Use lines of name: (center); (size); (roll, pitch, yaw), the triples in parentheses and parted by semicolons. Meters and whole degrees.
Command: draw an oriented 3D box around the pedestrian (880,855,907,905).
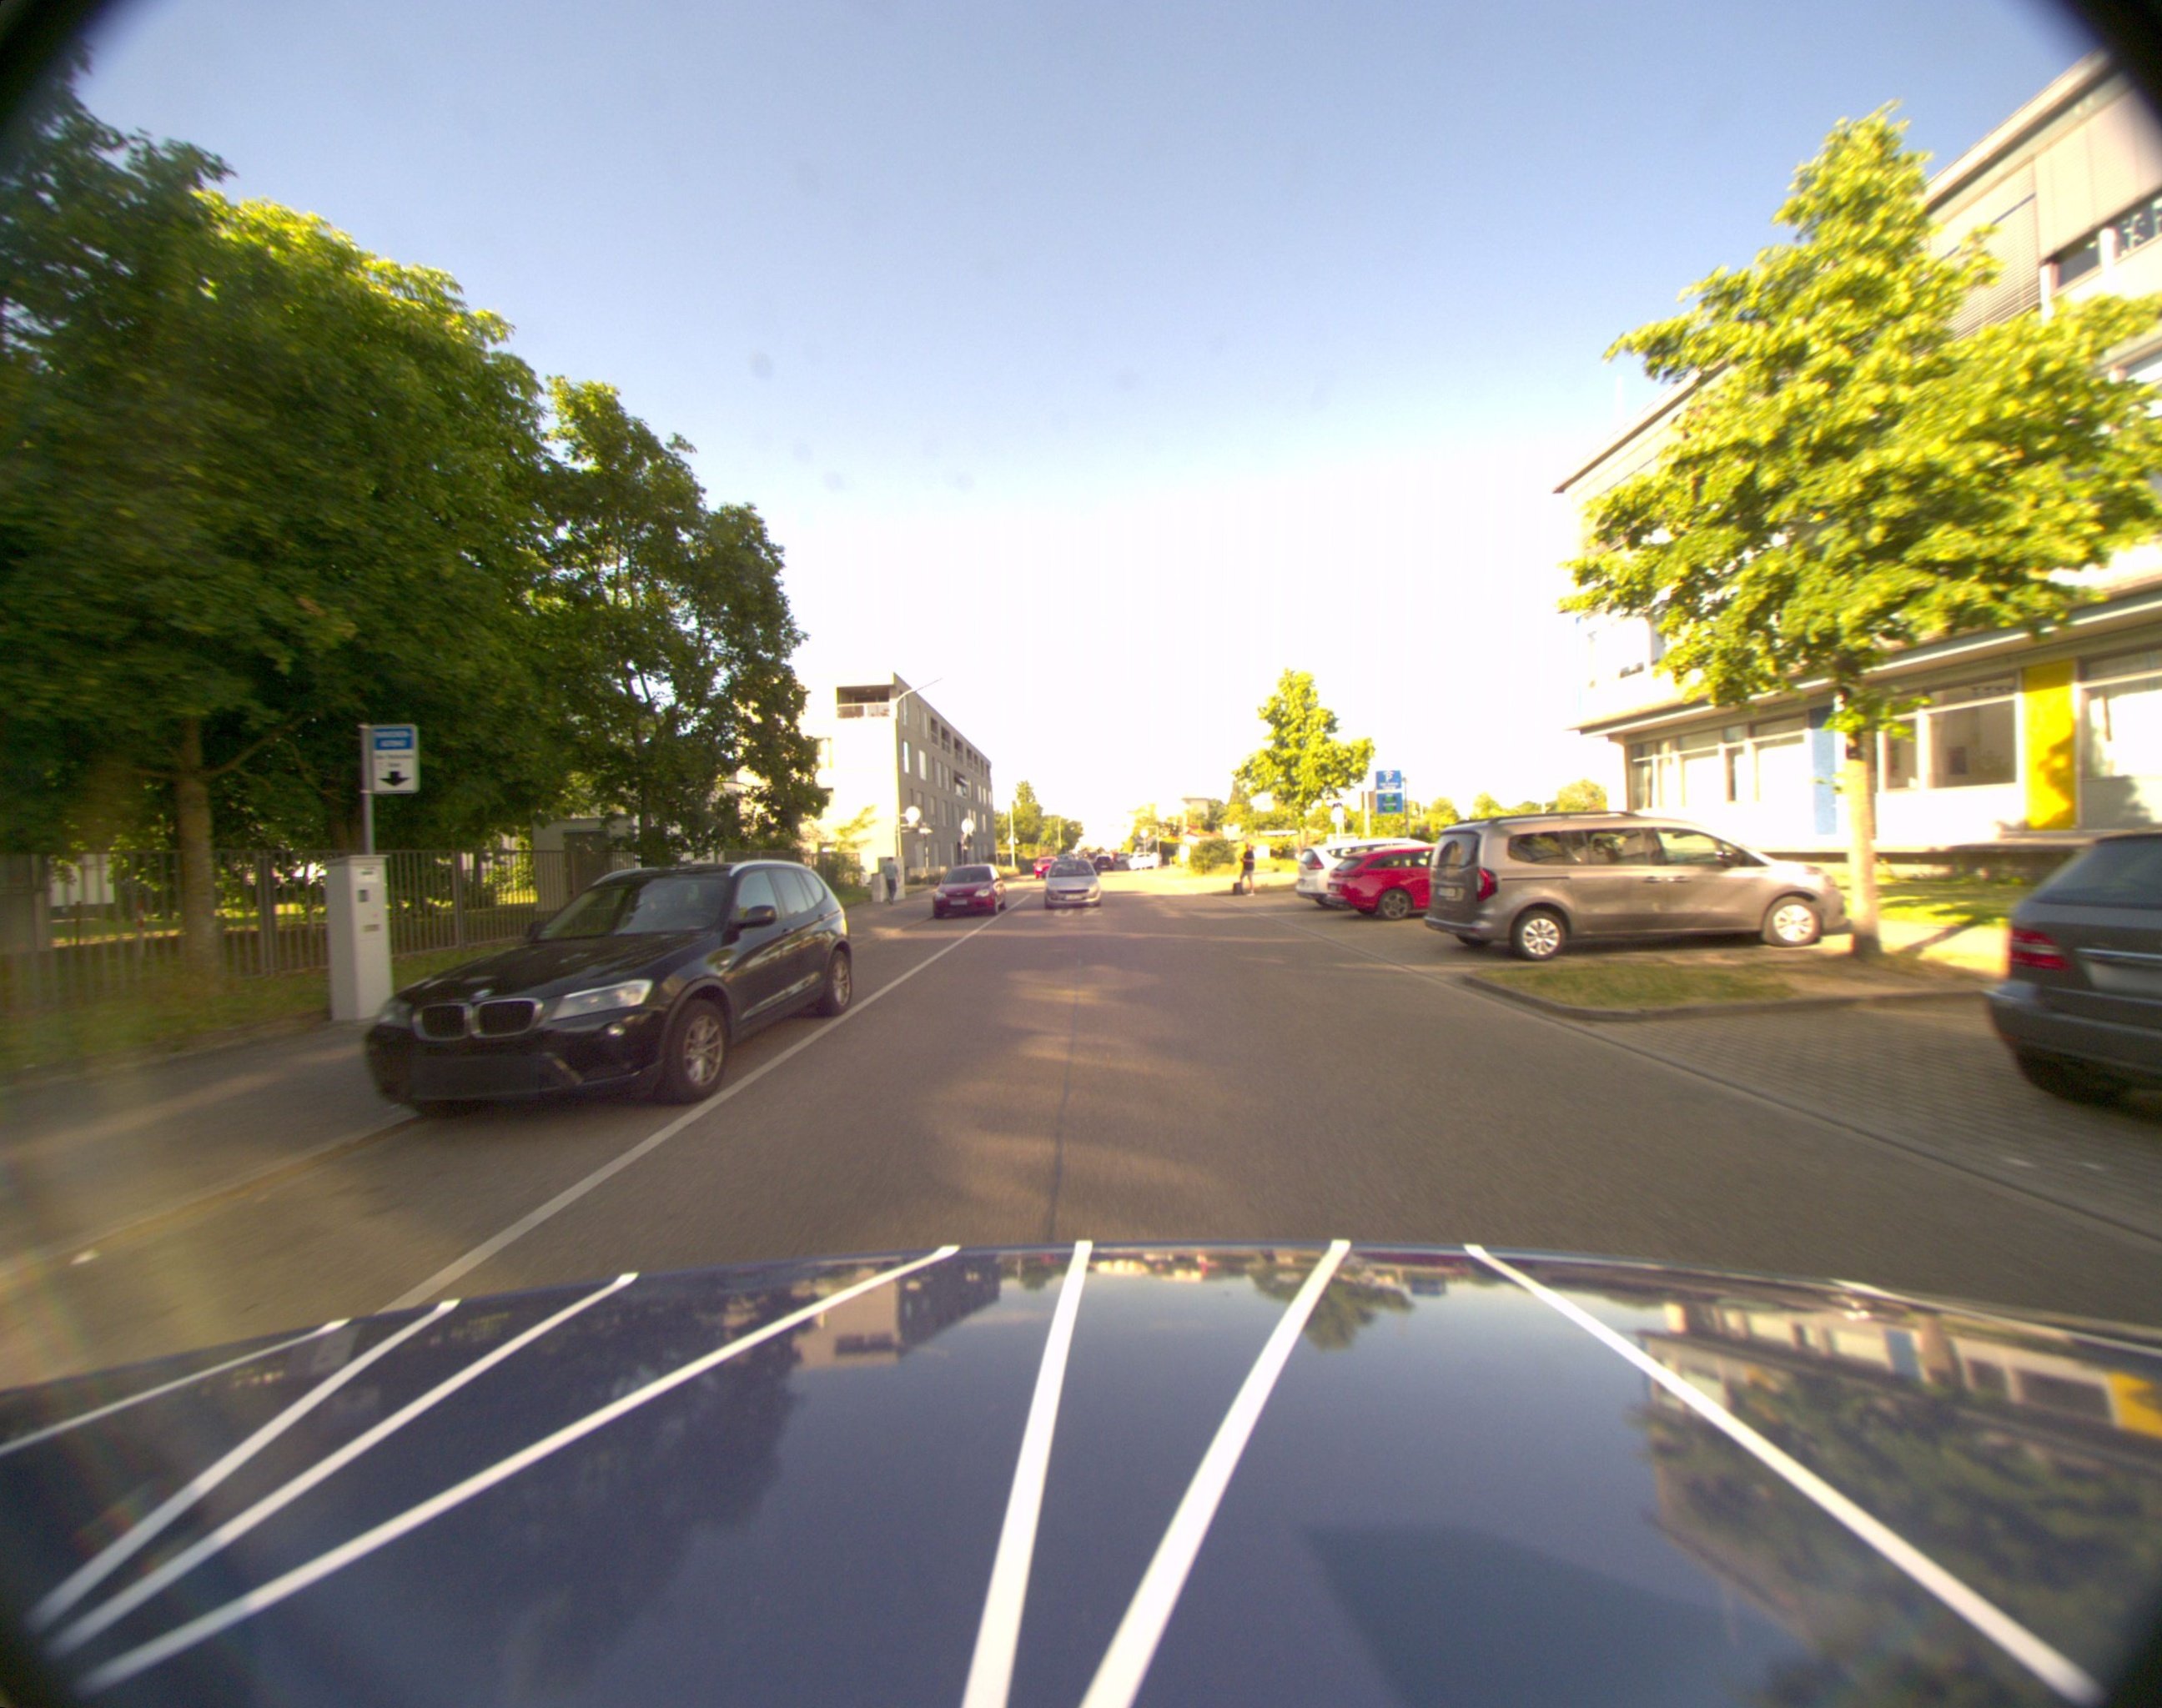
pedestrian: (-6.615, 0.905, 26.890); (0.719, 1.748, 0.885); (0, 1, 1)

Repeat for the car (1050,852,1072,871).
car: (-1.830, 0.656, 71.538); (1.821, 1.590, 4.627); (-5, 0, 0)

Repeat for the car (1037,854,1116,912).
car: (-0.051, 0.835, 23.669); (1.677, 1.440, 4.002); (-2, 2, 11)

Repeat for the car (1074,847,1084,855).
car: (-0.381, -0.588, 152.000); (1.873, 1.517, 4.155); (-3, 1, 2)

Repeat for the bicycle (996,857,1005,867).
bicycle: (-9.046, 0.849, 85.470); (0.553, 1.055, 1.842); (-3, 1, 5)

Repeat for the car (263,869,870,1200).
car: (-3.452, 1.035, 6.439); (1.816, 1.656, 4.593); (-4, 0, 2)

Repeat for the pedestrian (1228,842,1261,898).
pedestrian: (5.591, 0.528, 26.056); (0.860, 1.832, 0.825); (-4, 1, 3)

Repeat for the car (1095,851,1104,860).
car: (4.075, 0.348, 165.932); (1.947, 1.717, 4.839); (-2, 0, 2)

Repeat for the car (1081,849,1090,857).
car: (1.158, -0.323, 189.236); (1.998, 2.002, 4.000); (-1, 0, 1)

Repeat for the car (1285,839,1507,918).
car: (7.562, 0.559, 18.609); (4.622, 1.641, 1.868); (-2, 1, 4)

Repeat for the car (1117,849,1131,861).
car: (5.480, 0.103, 97.748); (1.531, 1.479, 3.401); (-3, 1, 1)

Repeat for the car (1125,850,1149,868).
car: (5.027, 0.406, 68.617); (1.751, 1.437, 4.541); (-5, 0, 1)

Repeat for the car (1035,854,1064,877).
car: (-2.224, 0.772, 54.699); (1.823, 1.491, 4.451); (-3, 0, 0)

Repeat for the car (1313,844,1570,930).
car: (7.357, 0.634, 15.832); (4.445, 1.492, 1.827); (-3, 1, 1)

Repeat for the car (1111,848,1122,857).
car: (6.222, -0.319, 133.629); (1.700, 1.421, 4.385); (-2, 0, 1)

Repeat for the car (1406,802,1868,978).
car: (7.177, 0.432, 10.198); (4.754, 1.854, 1.827); (-4, 1, 1)

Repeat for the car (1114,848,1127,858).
car: (6.046, -0.192, 115.633); (1.700, 1.415, 4.516); (-4, 0, 1)

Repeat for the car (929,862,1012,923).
car: (-3.195, 1.065, 22.807); (1.724, 1.446, 4.651); (-3, 0, 0)

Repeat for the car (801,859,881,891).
car: (-12.319, 1.084, 39.130); (3.555, 1.477, 1.600); (-2, 1, 2)

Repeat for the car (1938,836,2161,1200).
car: (6.887, 0.655, 3.434); (3.998, 1.598, 1.871); (-4, 1, -3)

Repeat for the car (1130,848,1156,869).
car: (5.010, 0.376, 61.856); (1.700, 1.504, 4.517); (-5, 0, 1)

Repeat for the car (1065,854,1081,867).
car: (-1.104, 0.850, 101.000); (1.749, 1.557, 4.803); (-4, 1, 3)

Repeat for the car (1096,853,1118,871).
car: (2.255, 0.701, 66.758); (1.708, 1.443, 4.086); (-1, 1, 0)
